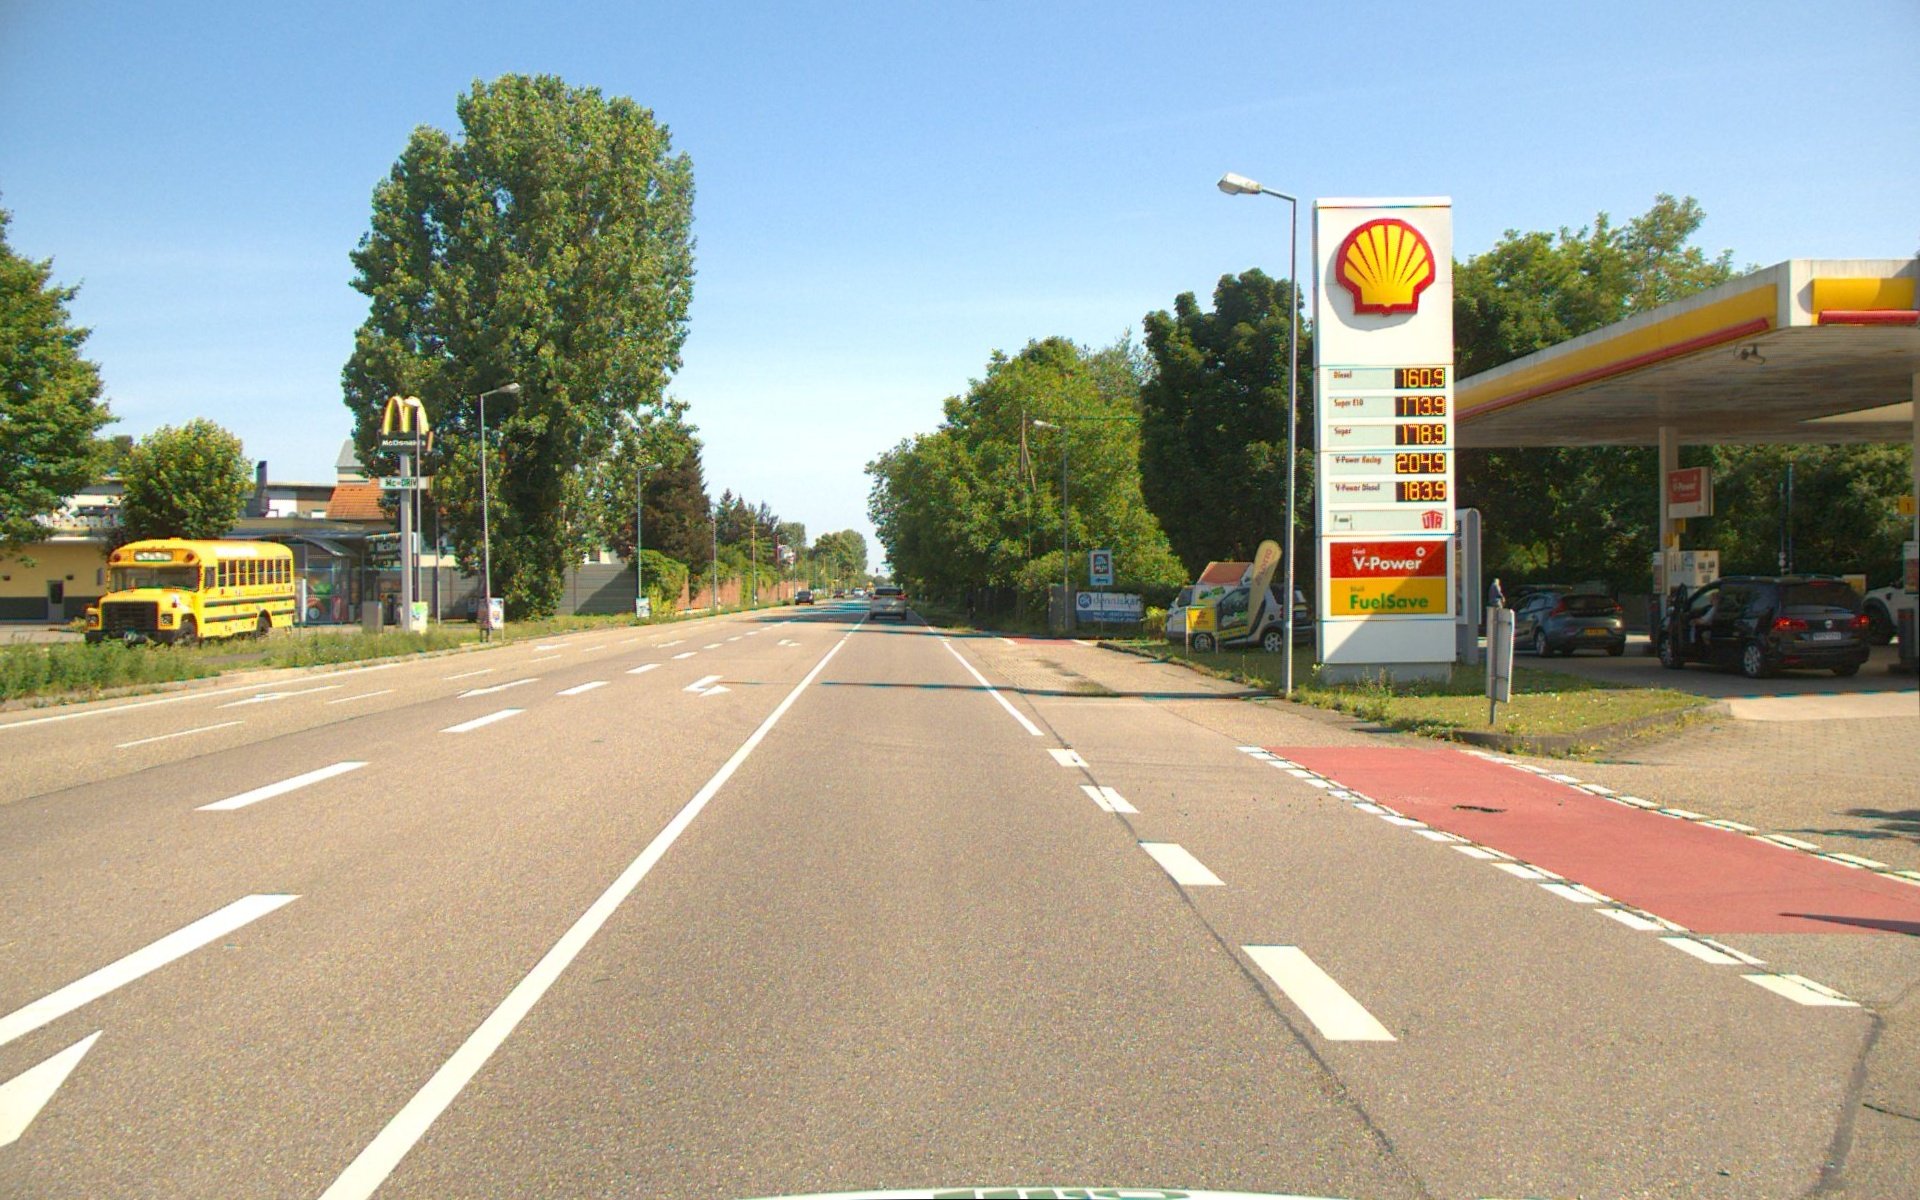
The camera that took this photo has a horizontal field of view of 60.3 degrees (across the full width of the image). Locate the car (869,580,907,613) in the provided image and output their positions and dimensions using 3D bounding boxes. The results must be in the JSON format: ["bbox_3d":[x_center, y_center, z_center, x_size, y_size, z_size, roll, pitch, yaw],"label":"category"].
[{"bbox_3d":[-3.569,-0.178,81.865,1.810,1.568,4.222,1,0,-2],"label":"car"}]

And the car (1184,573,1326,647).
[{"bbox_3d":[6.477,0.232,36.414,2.682,1.557,1.568,0,-1,42],"label":"car"}]

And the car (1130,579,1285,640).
[{"bbox_3d":[6.763,0.259,45.341,3.914,1.557,1.582,1,0,-10],"label":"car"}]

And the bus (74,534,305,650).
[{"bbox_3d":[-20.317,-0.184,44.306,2.528,2.726,8.989,1,0,-4],"label":"bus"}]

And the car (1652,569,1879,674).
[{"bbox_3d":[13.374,0.318,27.722,1.725,1.606,3.875,-1,0,-4],"label":"car"}]

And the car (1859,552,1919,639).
[{"bbox_3d":[21.508,-0.106,35.294,1.815,1.870,4.777,-1,0,-4],"label":"car"}]

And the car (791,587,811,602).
[{"bbox_3d":[-17.096,-0.577,177.616,1.810,1.522,4.909,-2,0,-2],"label":"car"}]

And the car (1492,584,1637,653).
[{"bbox_3d":[13.028,0.367,35.896,1.761,1.384,3.848,-1,0,0],"label":"car"}]
